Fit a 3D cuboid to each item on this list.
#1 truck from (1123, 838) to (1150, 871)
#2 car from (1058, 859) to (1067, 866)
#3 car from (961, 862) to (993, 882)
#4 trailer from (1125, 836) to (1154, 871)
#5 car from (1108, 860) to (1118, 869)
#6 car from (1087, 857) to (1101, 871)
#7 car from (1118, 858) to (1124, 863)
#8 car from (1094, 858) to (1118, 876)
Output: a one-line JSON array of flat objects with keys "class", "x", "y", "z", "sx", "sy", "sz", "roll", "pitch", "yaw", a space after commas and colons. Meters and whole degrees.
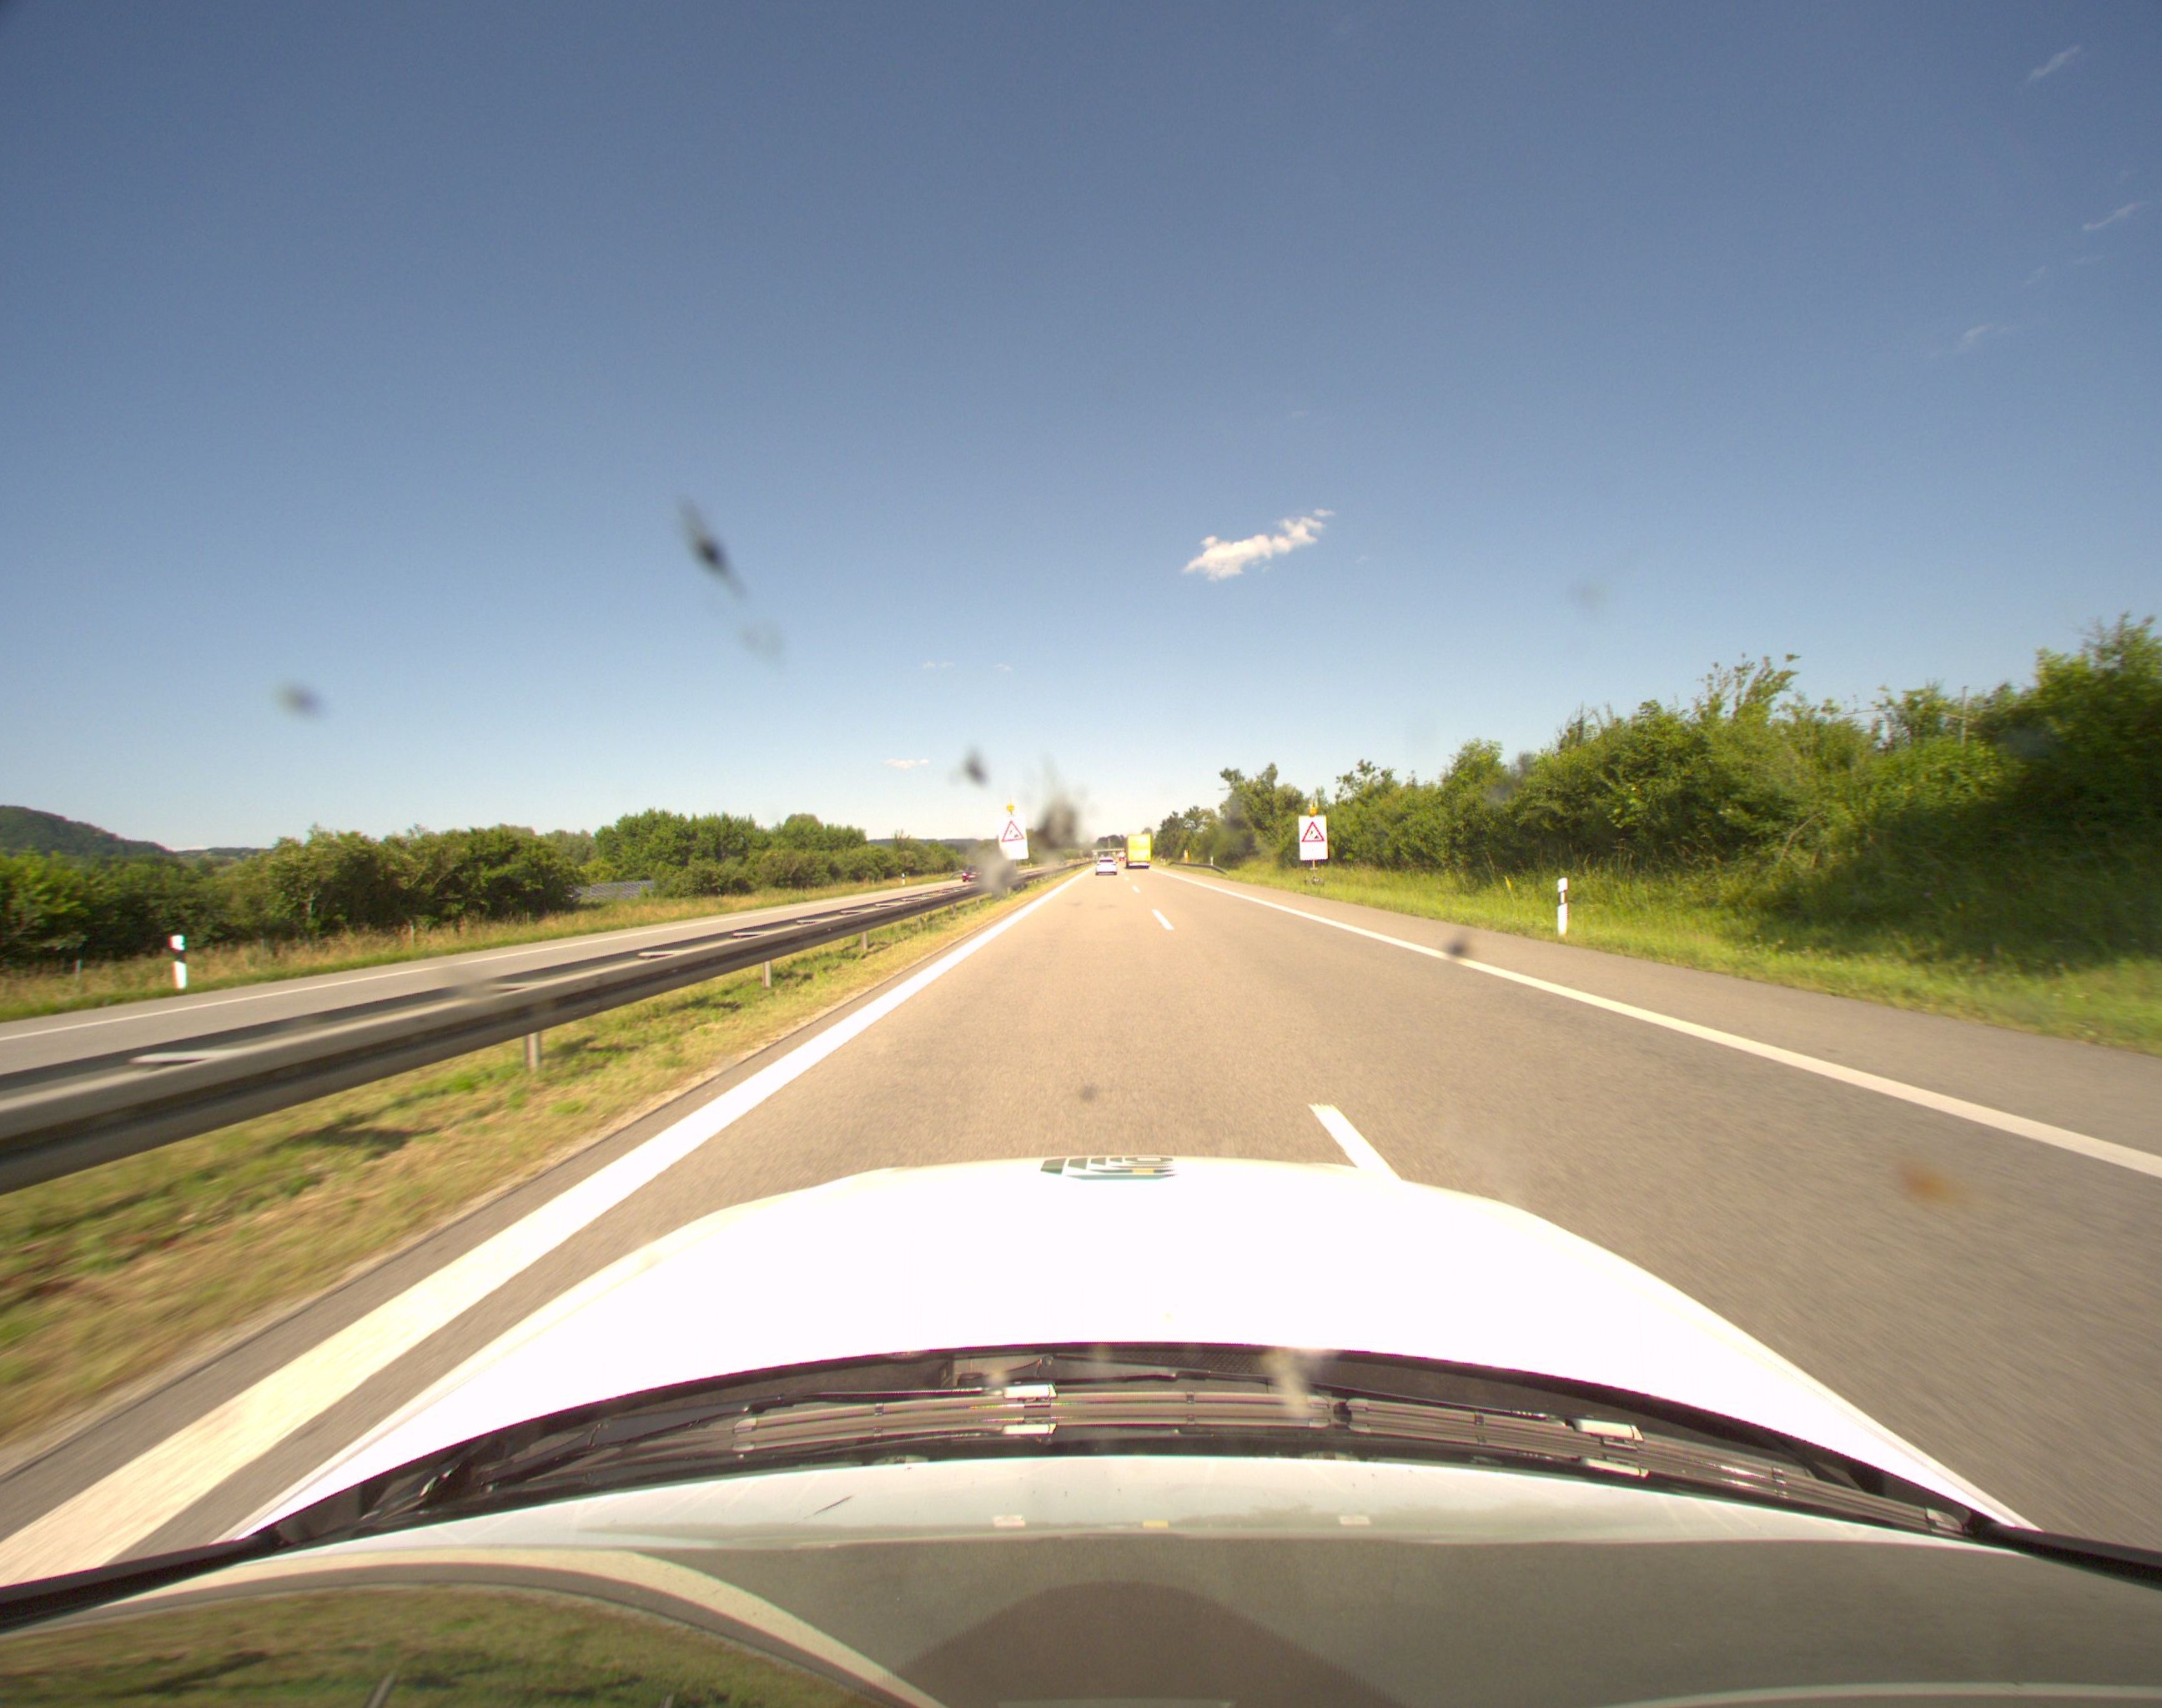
[{"class": "truck", "x": 7.205, "y": 0.054, "z": 106.187, "sx": 3.157, "sy": 4.114, "sz": 6.390, "roll": 0, "pitch": -1, "yaw": 1}, {"class": "car", "x": -4.425, "y": 2.135, "z": 199.855, "sx": 1.823, "sy": 1.571, "sz": 4.658, "roll": -3, "pitch": -1, "yaw": 2}, {"class": "car", "x": -8.618, "y": 1.489, "z": 67.930, "sx": 1.826, "sy": 1.398, "sz": 4.924, "roll": -5, "pitch": 0, "yaw": 1}, {"class": "trailer", "x": 6.992, "y": 0.003, "z": 99.753, "sx": 3.172, "sy": 4.059, "sz": 13.194, "roll": 0, "pitch": -1, "yaw": 2}, {"class": "car", "x": 5.961, "y": 1.973, "z": 152.399, "sx": 1.835, "sy": 1.520, "sz": 4.003, "roll": 0, "pitch": -1, "yaw": 3}, {"class": "car", "x": 1.982, "y": 1.509, "z": 121.293, "sx": 1.986, "sy": 2.014, "sz": 4.001, "roll": 0, "pitch": -1, "yaw": 1}, {"class": "car", "x": 12.645, "y": 2.122, "z": 257.283, "sx": 1.895, "sy": 1.683, "sz": 4.733, "roll": 1, "pitch": -1, "yaw": 2}, {"class": "car", "x": 2.101, "y": 1.047, "z": 67.590, "sx": 1.835, "sy": 1.416, "sz": 4.003, "roll": 0, "pitch": -1, "yaw": 3}]
